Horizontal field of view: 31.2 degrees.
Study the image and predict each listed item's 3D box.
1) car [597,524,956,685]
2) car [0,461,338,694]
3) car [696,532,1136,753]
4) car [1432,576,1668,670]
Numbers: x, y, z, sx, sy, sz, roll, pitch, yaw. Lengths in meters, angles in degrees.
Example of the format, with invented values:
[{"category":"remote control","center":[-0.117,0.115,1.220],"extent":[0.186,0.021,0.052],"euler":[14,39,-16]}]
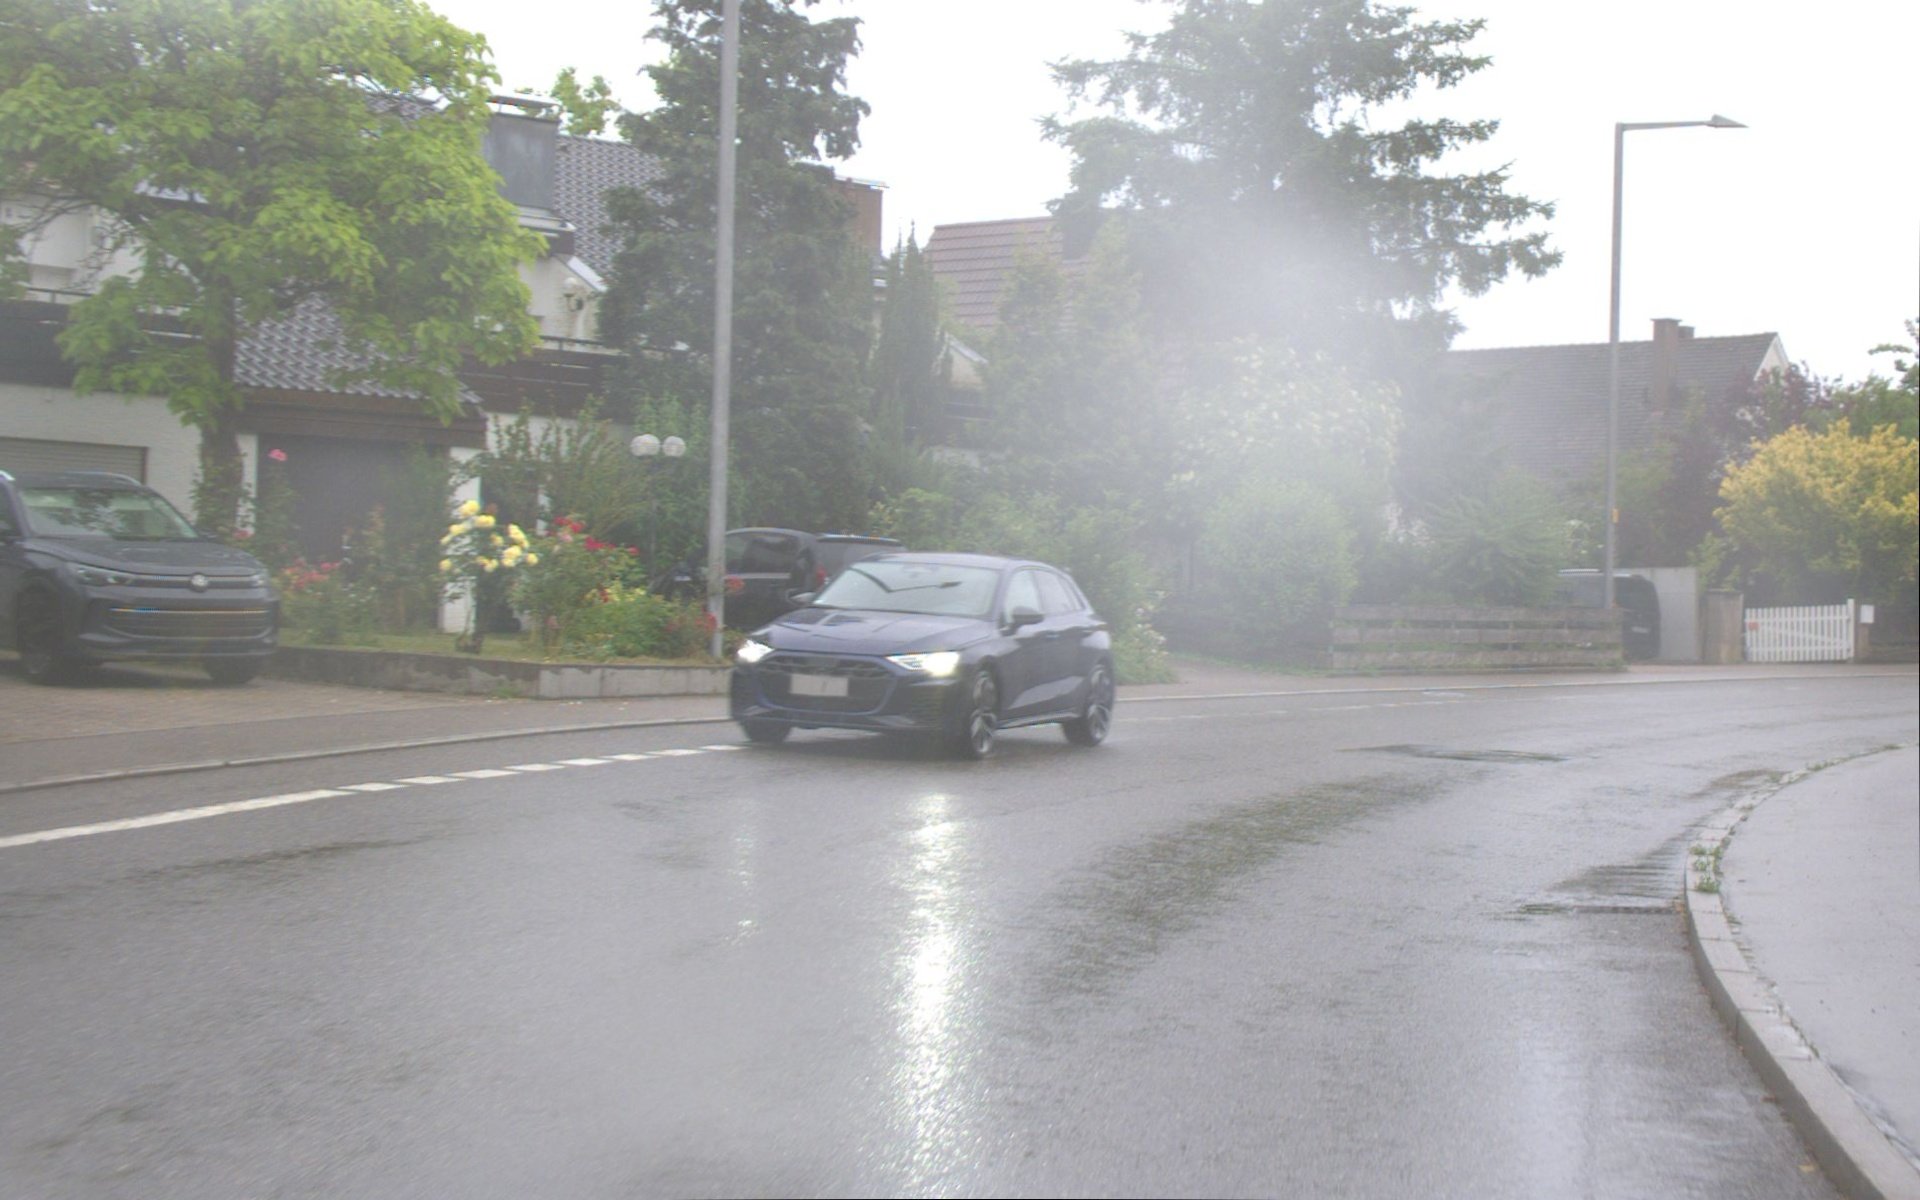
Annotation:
[{"category":"car","center":[-1.999,0.022,36.280],"extent":[1.934,1.384,4.000],"euler":[4,1,-33]},{"category":"car","center":[-7.074,-0.250,27.587],"extent":[3.998,1.626,2.009],"euler":[5,2,43]},{"category":"car","center":[-0.219,0.278,25.309],"extent":[1.779,1.415,4.161],"euler":[3,1,21]},{"category":"car","center":[11.315,0.436,66.079],"extent":[3.998,1.614,1.995],"euler":[3,1,45]}]
